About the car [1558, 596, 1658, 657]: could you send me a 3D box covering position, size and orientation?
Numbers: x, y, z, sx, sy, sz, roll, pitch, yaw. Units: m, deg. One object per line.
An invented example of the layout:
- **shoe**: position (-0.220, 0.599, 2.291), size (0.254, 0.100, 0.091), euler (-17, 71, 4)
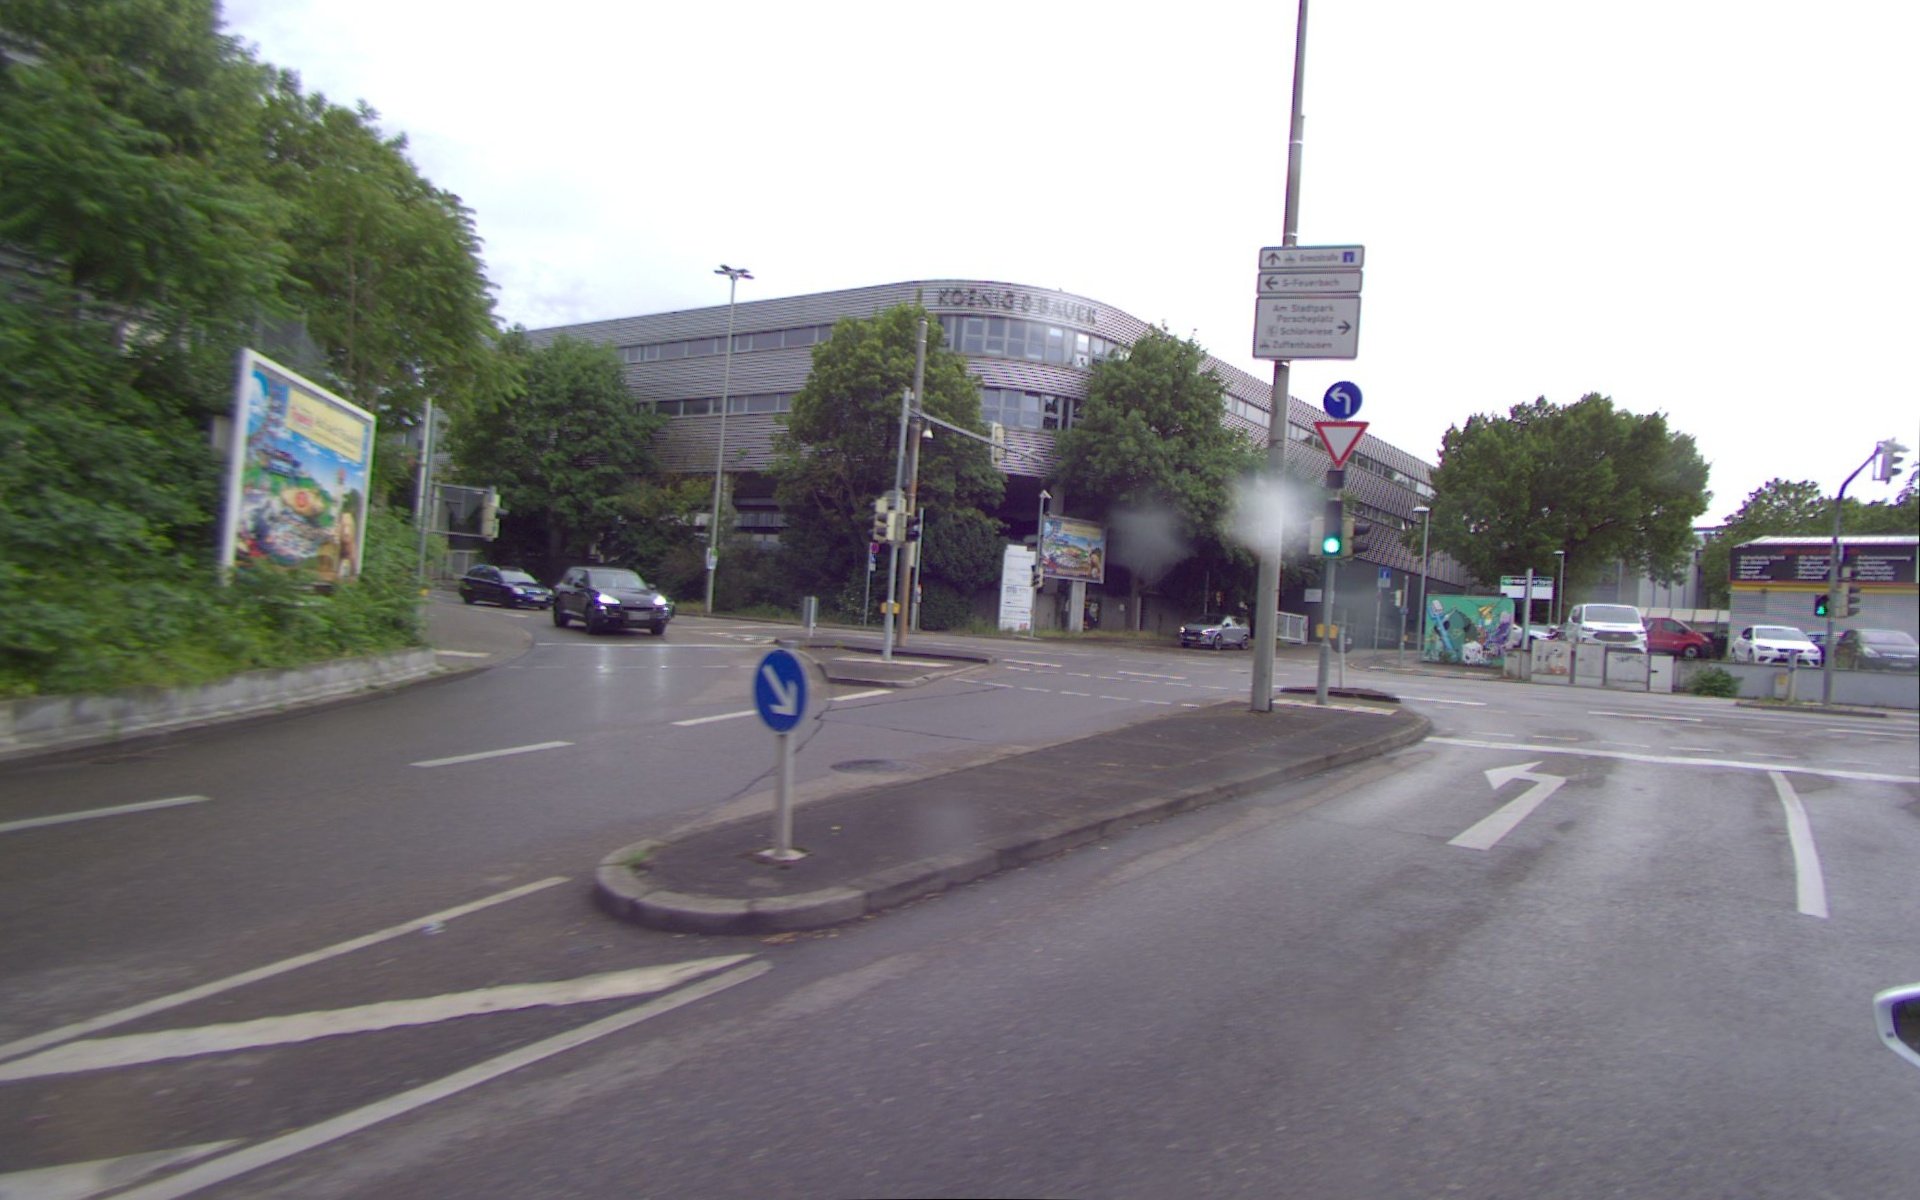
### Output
- **car**: position (22.843, 1.003, 35.609), size (2.178, 1.825, 5.370), euler (3, -2, 25)

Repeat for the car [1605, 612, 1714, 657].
- **car**: position (34.617, 1.690, 49.773), size (4.245, 1.885, 1.733), euler (3, -2, 40)

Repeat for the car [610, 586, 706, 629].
- **car**: position (-10.470, 0.238, 34.696), size (1.587, 1.276, 3.706), euler (1, 1, -45)

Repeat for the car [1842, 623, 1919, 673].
- **car**: position (28.537, 1.434, 30.743), size (1.712, 1.387, 3.614), euler (2, 0, 33)

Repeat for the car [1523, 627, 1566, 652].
- **car**: position (32.570, 2.224, 55.963), size (1.718, 1.137, 3.476), euler (3, -2, 35)

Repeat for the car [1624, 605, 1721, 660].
- **car**: position (36.882, 1.673, 52.025), size (3.926, 2.530, 1.647), euler (3, -2, 40)

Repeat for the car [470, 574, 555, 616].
- **car**: position (-16.954, -0.202, 38.007), size (1.742, 1.388, 3.706), euler (1, 1, -45)

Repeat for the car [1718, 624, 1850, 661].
- **car**: position (35.332, 1.800, 43.146), size (4.281, 1.424, 1.365), euler (0, -4, 44)

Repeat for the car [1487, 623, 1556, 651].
- **car**: position (25.885, 1.706, 46.380), size (2.672, 1.119, 1.196), euler (3, -2, 28)

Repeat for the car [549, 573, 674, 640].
- **car**: position (-9.292, 0.135, 26.589), size (1.935, 1.564, 4.166), euler (2, 1, -37)

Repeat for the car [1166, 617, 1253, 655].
- **car**: position (11.800, 1.684, 47.289), size (2.007, 1.621, 4.354), euler (2, 0, 45)

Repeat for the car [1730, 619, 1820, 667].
- **car**: position (26.770, 1.378, 33.093), size (1.841, 1.387, 3.614), euler (2, 0, 33)
